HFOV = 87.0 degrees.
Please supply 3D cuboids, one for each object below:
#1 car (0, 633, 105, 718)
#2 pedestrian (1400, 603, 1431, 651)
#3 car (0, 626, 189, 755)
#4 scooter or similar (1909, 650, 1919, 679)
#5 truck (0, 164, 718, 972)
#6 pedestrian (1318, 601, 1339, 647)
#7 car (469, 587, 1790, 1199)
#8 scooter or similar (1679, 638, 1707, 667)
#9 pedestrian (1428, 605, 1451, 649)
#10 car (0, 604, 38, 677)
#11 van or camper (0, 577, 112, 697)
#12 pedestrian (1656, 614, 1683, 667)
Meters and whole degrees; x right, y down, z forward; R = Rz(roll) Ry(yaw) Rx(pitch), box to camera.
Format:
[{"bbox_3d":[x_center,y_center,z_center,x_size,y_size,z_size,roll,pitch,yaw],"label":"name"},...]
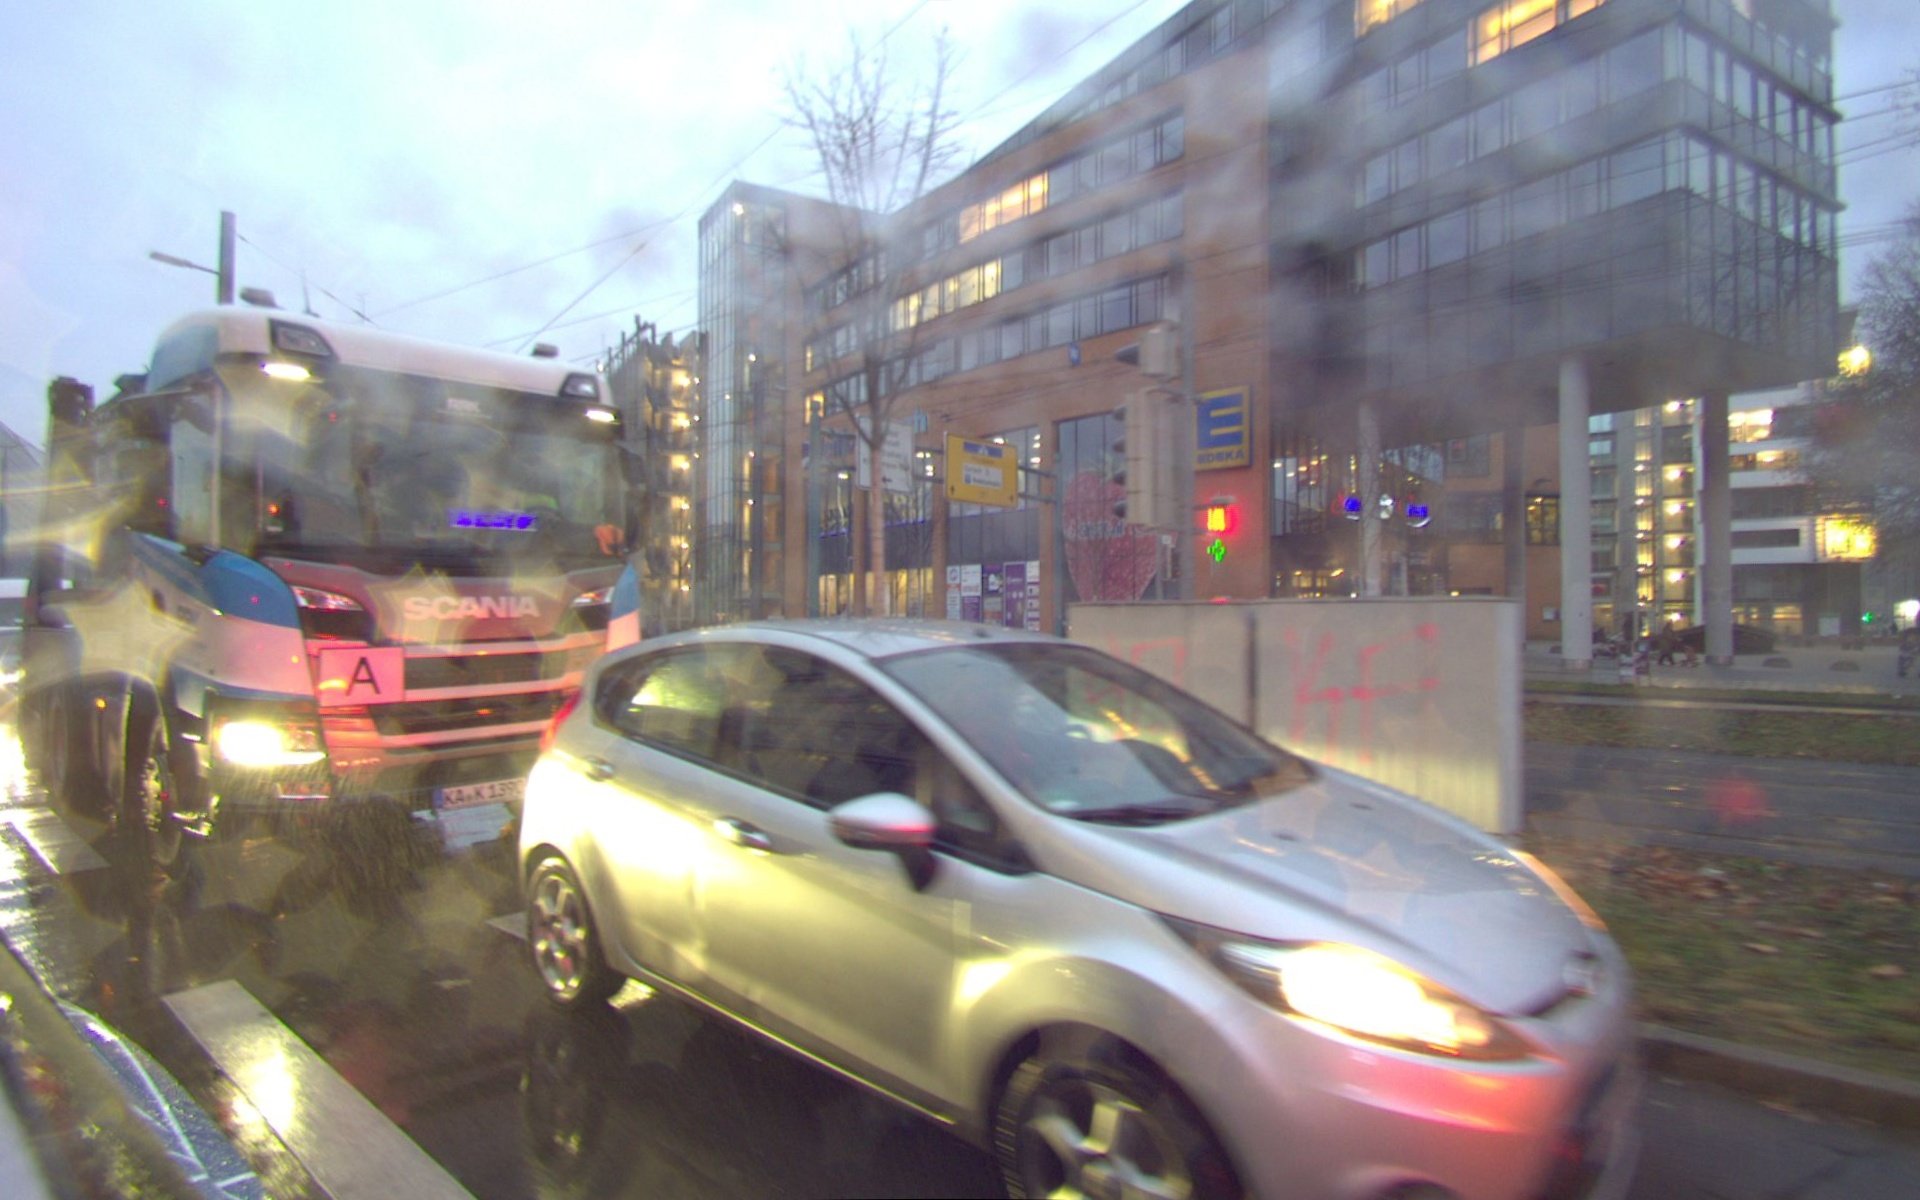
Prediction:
[{"bbox_3d":[-16.906,1.295,18.314,4.057,1.355,1.736,-2,-2,43],"label":"car"},{"bbox_3d":[16.948,1.001,37.665,0.782,1.766,0.704,0,-2,-1],"label":"pedestrian"},{"bbox_3d":[-12.379,1.152,14.257,3.939,1.535,1.613,-1,-2,41],"label":"car"},{"bbox_3d":[29.028,1.949,30.594,0.545,0.856,0.433,2,-2,-43],"label":"scooter or similar"},{"bbox_3d":[-5.378,-0.071,8.101,7.521,3.661,2.810,-1,-2,40],"label":"truck"},{"bbox_3d":[14.242,0.940,39.132,0.658,1.766,0.534,0,-2,12],"label":"pedestrian"},{"bbox_3d":[0.117,0.723,3.329,3.998,1.458,1.688,-1,0,41],"label":"car"},{"bbox_3d":[24.894,1.774,34.374,0.545,0.968,0.667,2,-2,-43],"label":"scooter or similar"},{"bbox_3d":[19.736,1.111,41.647,0.703,1.766,0.564,-1,-2,39],"label":"pedestrian"},{"bbox_3d":[-40.120,1.647,41.543,5.799,2.885,2.106,-1,-2,35],"label":"car"},{"bbox_3d":[-22.286,0.857,24.160,5.894,2.551,2.126,-1,-2,40],"label":"van or camper"},{"bbox_3d":[24.441,1.393,34.875,0.564,1.787,0.638,2,-3,-43],"label":"pedestrian"}]
